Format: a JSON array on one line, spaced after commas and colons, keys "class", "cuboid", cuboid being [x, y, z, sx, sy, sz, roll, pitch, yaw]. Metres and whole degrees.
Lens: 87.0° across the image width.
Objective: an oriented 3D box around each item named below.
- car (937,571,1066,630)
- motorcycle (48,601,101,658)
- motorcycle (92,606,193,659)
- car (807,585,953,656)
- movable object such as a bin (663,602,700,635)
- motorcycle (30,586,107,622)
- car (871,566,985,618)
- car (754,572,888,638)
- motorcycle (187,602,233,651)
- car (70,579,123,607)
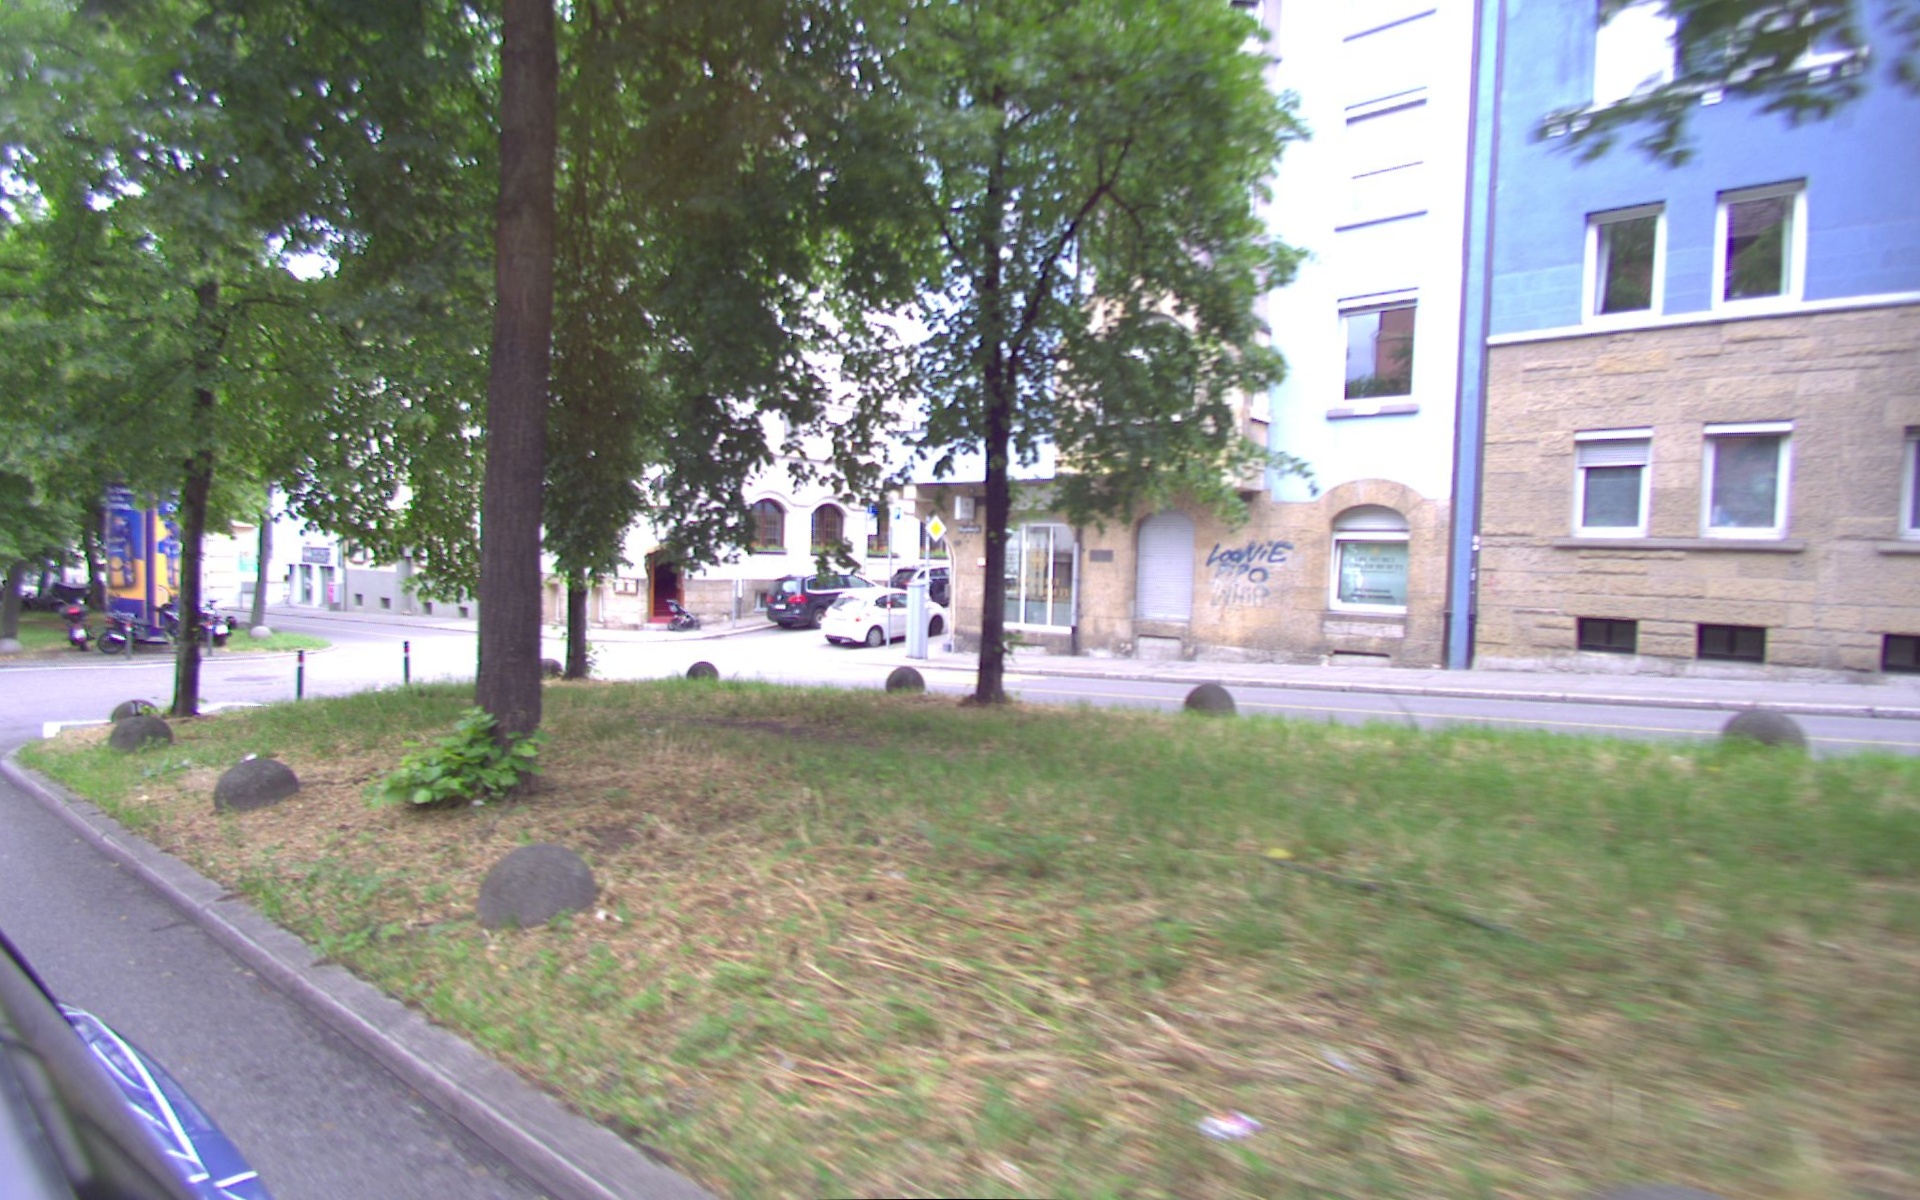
[{"class": "car", "cuboid": [1.383, -0.047, 32.231, 1.966, 1.480, 4.099, 1, 6, 41]}, {"class": "motorcycle", "cuboid": [-20.364, 0.649, 23.257, 0.876, 1.104, 2.484, -1, 3, -42]}, {"class": "motorcycle", "cuboid": [-18.452, 0.718, 22.870, 0.551, 1.104, 1.712, 3, 3, 44]}, {"class": "car", "cuboid": [-2.145, 0.497, 28.190, 1.869, 1.480, 3.960, 3, 7, 38]}, {"class": "movable object such as a bin", "cuboid": [-8.789, 0.576, 31.990, 0.667, 1.001, 0.877, 1, 3, 39]}, {"class": "motorcycle", "cuboid": [-38.746, 0.173, 43.988, 0.963, 1.494, 2.393, 4, 2, 41]}, {"class": "car", "cuboid": [-1.117, -0.334, 36.661, 1.801, 1.521, 3.944, 2, 6, 44]}, {"class": "car", "cuboid": [-4.412, 0.094, 32.588, 1.871, 1.712, 3.957, 1, 6, 41]}, {"class": "motorcycle", "cuboid": [-18.769, 0.630, 25.319, 0.740, 1.081, 1.854, -1, 3, -42]}, {"class": "car", "cuboid": [-50.456, -0.385, 59.103, 4.253, 1.575, 1.794, 0, 1, 42]}]
